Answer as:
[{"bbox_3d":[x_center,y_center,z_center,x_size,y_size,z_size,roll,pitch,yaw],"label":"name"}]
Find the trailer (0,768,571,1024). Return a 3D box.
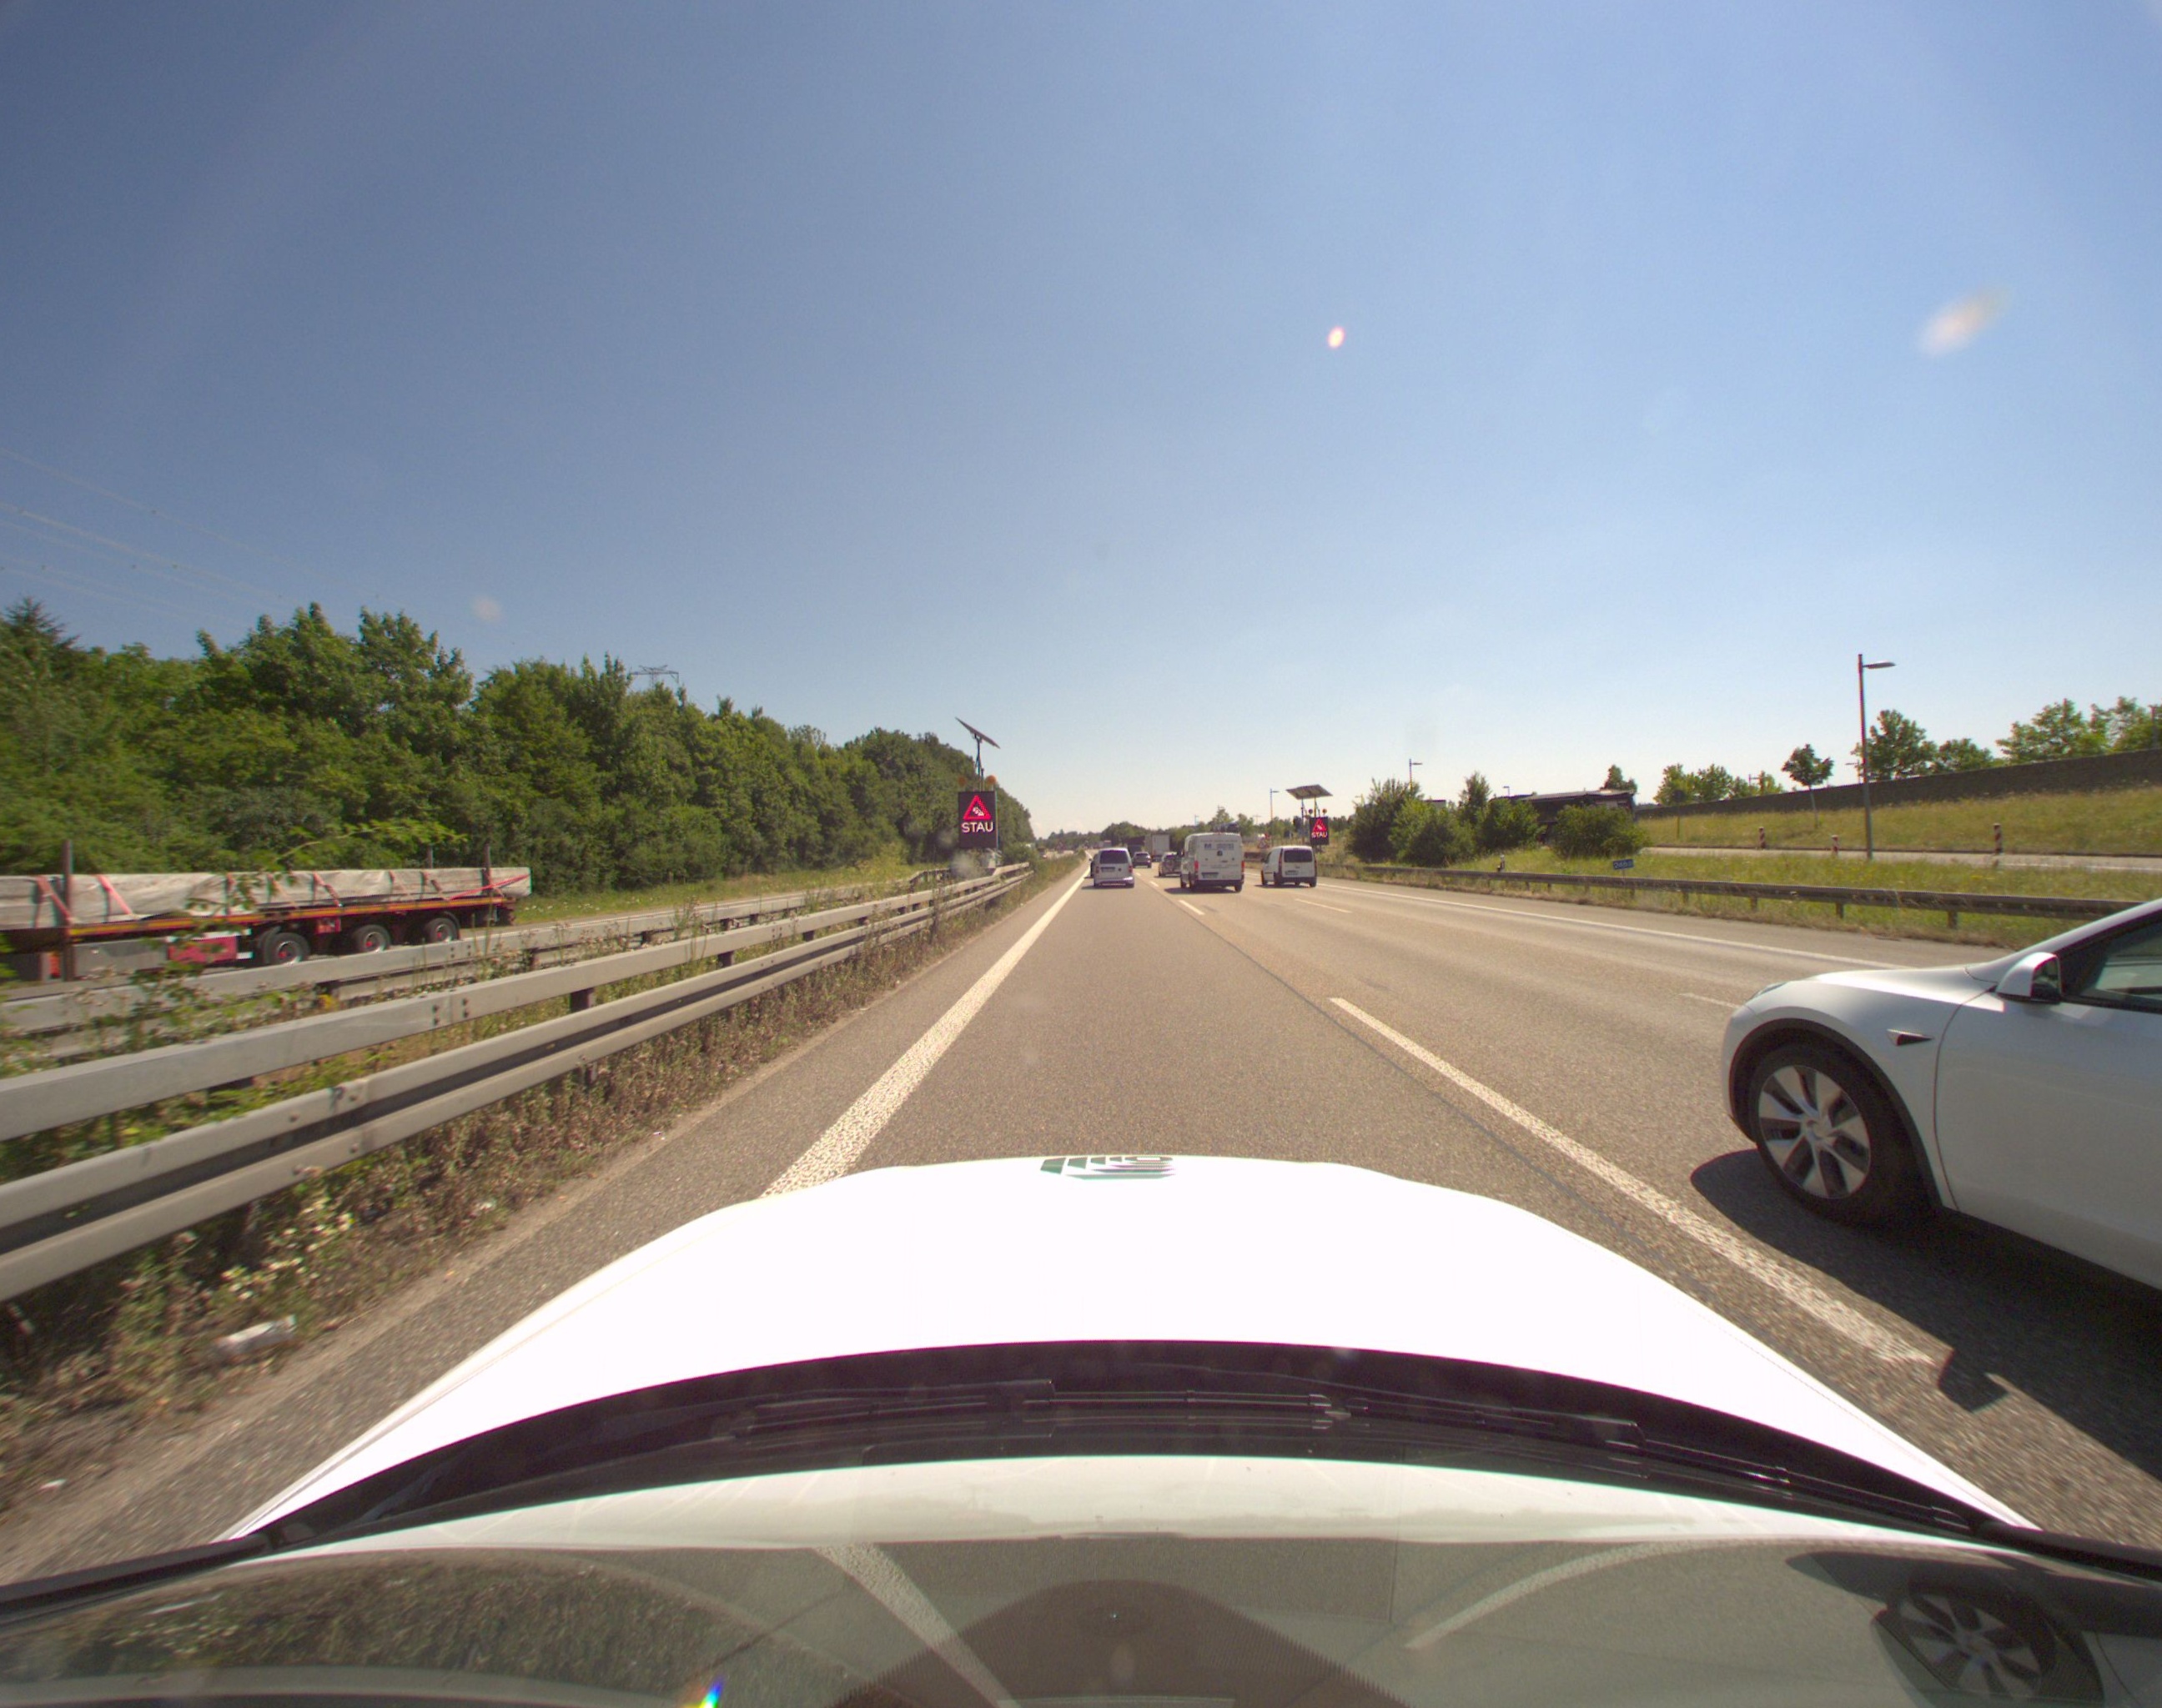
[{"bbox_3d":[-16.422,0.655,15.414,2.985,3.558,16.027,-2,0,1],"label":"trailer"}]

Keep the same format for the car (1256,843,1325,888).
[{"bbox_3d":[9.235,0.505,36.232,1.944,1.838,4.178,-2,-1,1],"label":"car"}]

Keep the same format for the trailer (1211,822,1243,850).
[{"bbox_3d":[24.911,-2.916,140.025,2.596,4.258,18.424,0,0,1],"label":"trailer"}]

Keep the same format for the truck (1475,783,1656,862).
[{"bbox_3d":[28.206,-1.602,48.610,3.773,4.083,12.525,0,0,2],"label":"truck"}]

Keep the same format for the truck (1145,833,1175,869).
[{"bbox_3d":[11.502,-0.394,120.085,3.773,5.000,12.526,0,-1,3],"label":"truck"}]

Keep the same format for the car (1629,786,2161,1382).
[{"bbox_3d":[3.918,0.625,1.681,1.943,1.636,5.602,0,0,2],"label":"car"}]

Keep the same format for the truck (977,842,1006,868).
[{"bbox_3d":[-13.956,0.175,127.591,2.985,3.802,10.792,-2,0,1],"label":"truck"}]

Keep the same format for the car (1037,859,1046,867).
[{"bbox_3d":[-8.845,1.905,182.777,1.718,1.656,4.861,-4,0,1],"label":"car"}]

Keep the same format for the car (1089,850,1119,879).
[{"bbox_3d":[1.525,0.660,51.641,1.738,1.701,4.091,-2,-1,3],"label":"car"}]

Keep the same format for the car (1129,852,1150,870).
[{"bbox_3d":[5.717,0.684,79.564,1.894,1.672,4.091,-2,-1,3],"label":"car"}]

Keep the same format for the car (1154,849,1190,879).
[{"bbox_3d":[5.645,0.598,50.972,1.968,1.733,4.091,-2,-1,3],"label":"car"}]

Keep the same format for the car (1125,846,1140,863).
[{"bbox_3d":[6.141,0.045,97.137,1.668,1.891,4.091,-2,-1,3],"label":"car"}]

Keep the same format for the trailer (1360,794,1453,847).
[{"bbox_3d":[29.228,-2.814,74.161,3.041,4.083,14.260,0,0,1],"label":"trailer"}]

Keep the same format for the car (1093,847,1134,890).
[{"bbox_3d":[1.496,0.638,37.123,1.738,1.764,4.091,-2,-1,3],"label":"car"}]

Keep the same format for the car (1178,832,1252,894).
[{"bbox_3d":[5.314,0.354,33.113,2.174,2.254,5.363,-1,0,1],"label":"car"}]

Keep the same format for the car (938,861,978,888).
[{"bbox_3d":[-7.686,1.261,51.115,1.718,1.526,4.001,-3,0,2],"label":"car"}]
